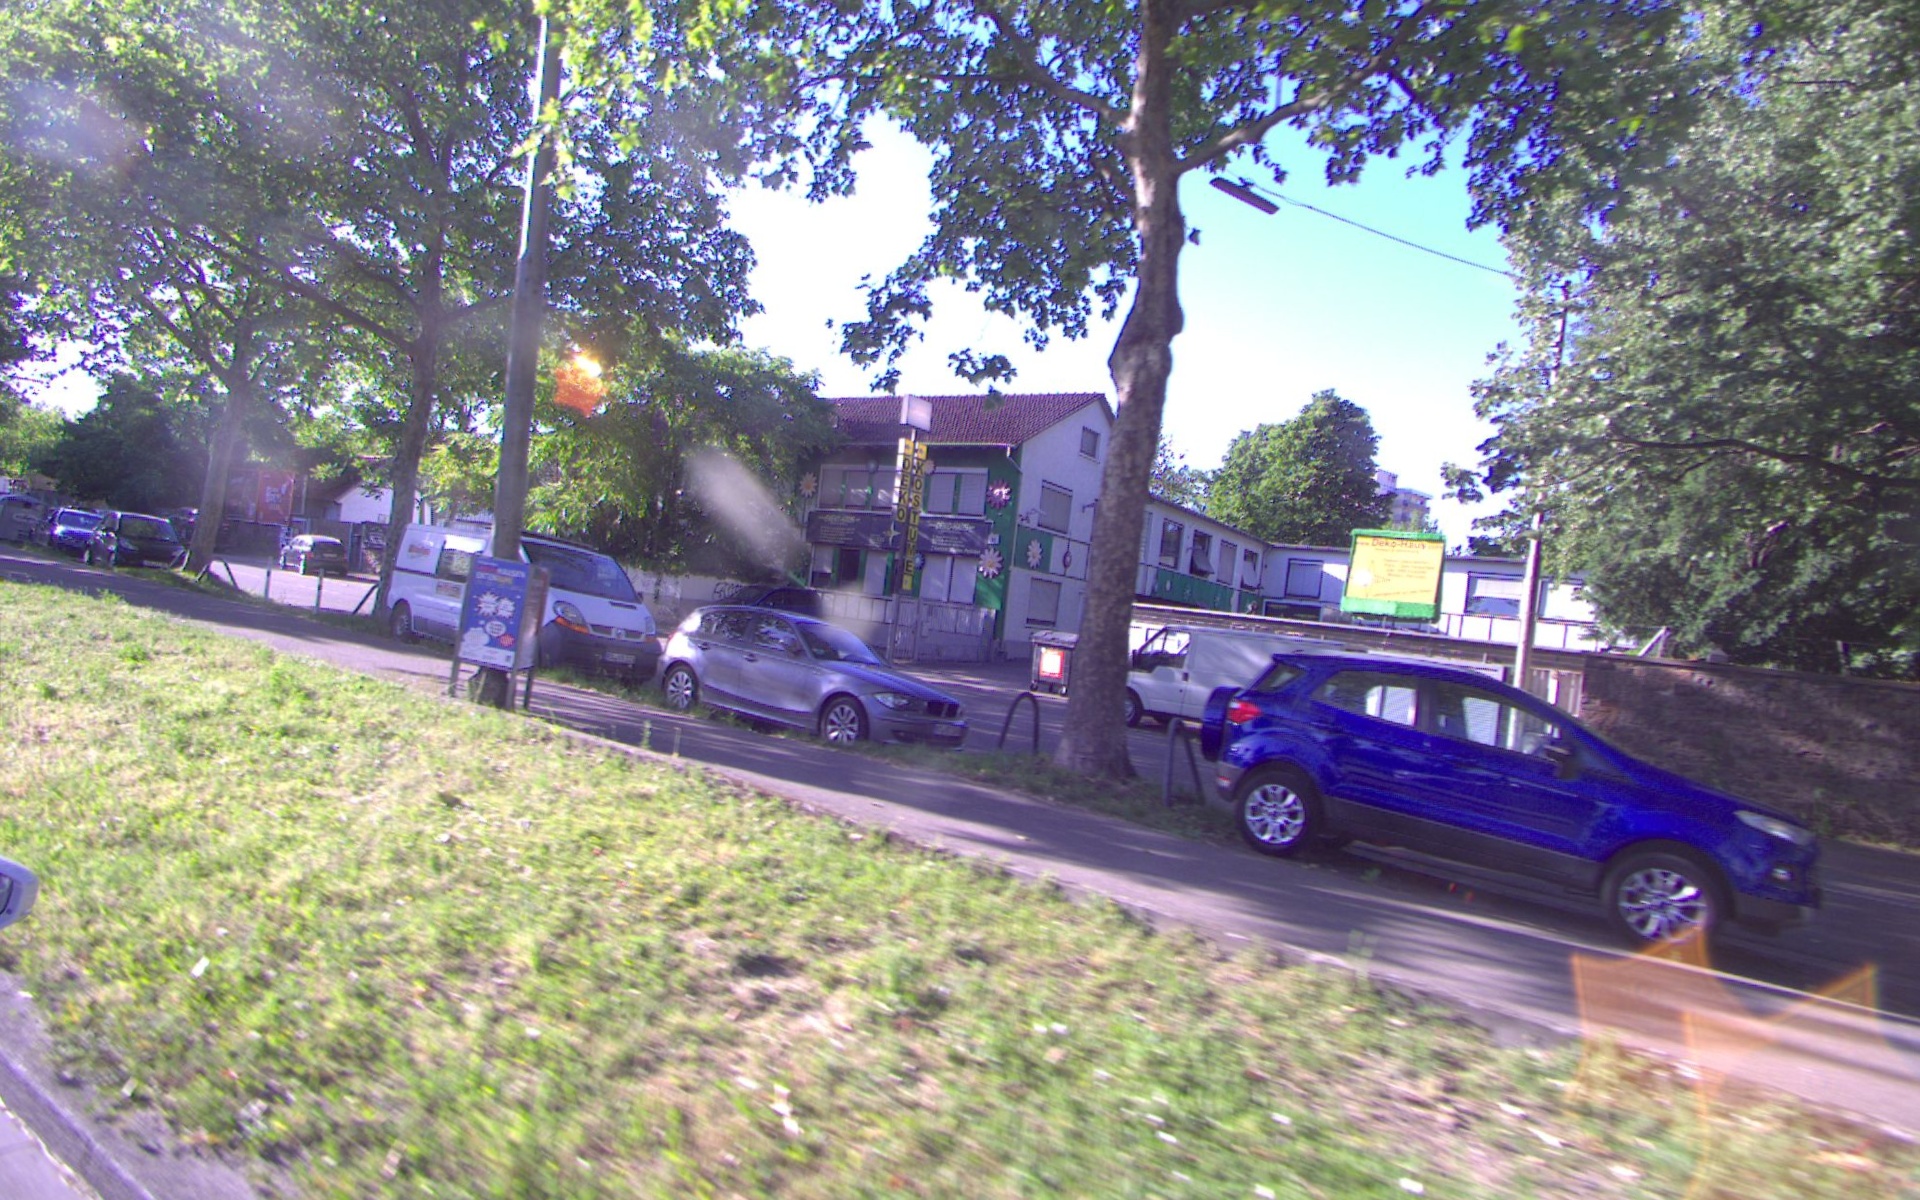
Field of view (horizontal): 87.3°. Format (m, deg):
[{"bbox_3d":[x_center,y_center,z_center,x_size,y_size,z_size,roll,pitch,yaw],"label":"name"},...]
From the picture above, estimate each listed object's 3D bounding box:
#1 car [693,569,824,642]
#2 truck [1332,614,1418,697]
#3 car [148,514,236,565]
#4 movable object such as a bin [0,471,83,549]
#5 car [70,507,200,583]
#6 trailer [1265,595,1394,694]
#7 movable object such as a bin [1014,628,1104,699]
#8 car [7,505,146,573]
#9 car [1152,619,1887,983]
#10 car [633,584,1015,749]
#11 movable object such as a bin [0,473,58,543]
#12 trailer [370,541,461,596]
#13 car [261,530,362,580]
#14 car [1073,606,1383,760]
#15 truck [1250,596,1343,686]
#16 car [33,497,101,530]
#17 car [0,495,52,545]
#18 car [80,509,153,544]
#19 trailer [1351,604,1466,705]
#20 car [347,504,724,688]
[{"bbox_3d":[-6.702,0.219,33.871,1.819,1.871,4.092,6,-3,32],"label":"car"},{"bbox_3d":[16.996,2.281,41.123,2.199,2.948,2.891,6,-2,40],"label":"truck"},{"bbox_3d":[-37.315,-2.948,48.848,4.615,2.028,1.872,6,1,33],"label":"car"},{"bbox_3d":[-29.056,-2.802,31.270,2.103,2.036,2.084,6,-2,36],"label":"movable object such as a bin"},{"bbox_3d":[-20.871,-1.391,25.427,2.942,1.517,1.664,6,-2,35],"label":"car"},{"bbox_3d":[17.299,2.180,46.638,2.645,3.603,8.787,6,-3,39],"label":"trailer"},{"bbox_3d":[2.388,1.502,24.073,1.461,1.488,1.645,6,1,31],"label":"movable object such as a bin"},{"bbox_3d":[-25.151,-1.757,28.578,4.673,1.400,2.001,6,-3,38],"label":"car"},{"bbox_3d":[3.879,1.264,7.646,4.282,1.660,1.740,6,-2,33],"label":"car"},{"bbox_3d":[-1.636,0.739,11.766,3.987,1.304,1.997,6,-3,33],"label":"car"},{"bbox_3d":[-31.252,-3.076,32.859,2.103,2.036,2.084,6,-2,36],"label":"movable object such as a bin"},{"bbox_3d":[-19.696,-1.141,36.375,2.976,1.661,1.729,6,1,36],"label":"trailer"},{"bbox_3d":[-26.553,-1.833,41.171,3.935,1.661,1.993,6,2,33],"label":"car"},{"bbox_3d":[4.790,1.434,18.339,4.867,2.037,2.087,6,-1,37],"label":"car"},{"bbox_3d":[14.353,1.765,42.921,2.675,3.307,2.482,8,-1,39],"label":"truck"},{"bbox_3d":[-53.749,-5.216,60.538,4.615,1.566,1.872,6,0,33],"label":"car"},{"bbox_3d":[-35.672,-3.091,37.047,4.972,1.541,1.875,6,-2,32],"label":"car"},{"bbox_3d":[-47.657,-4.155,56.791,4.615,1.502,1.871,6,1,33],"label":"car"},{"bbox_3d":[20.276,2.570,45.103,2.192,3.603,8.726,6,-3,40],"label":"trailer"},{"bbox_3d":[-6.467,-0.117,15.049,5.726,2.036,2.194,6,-2,33],"label":"car"}]
